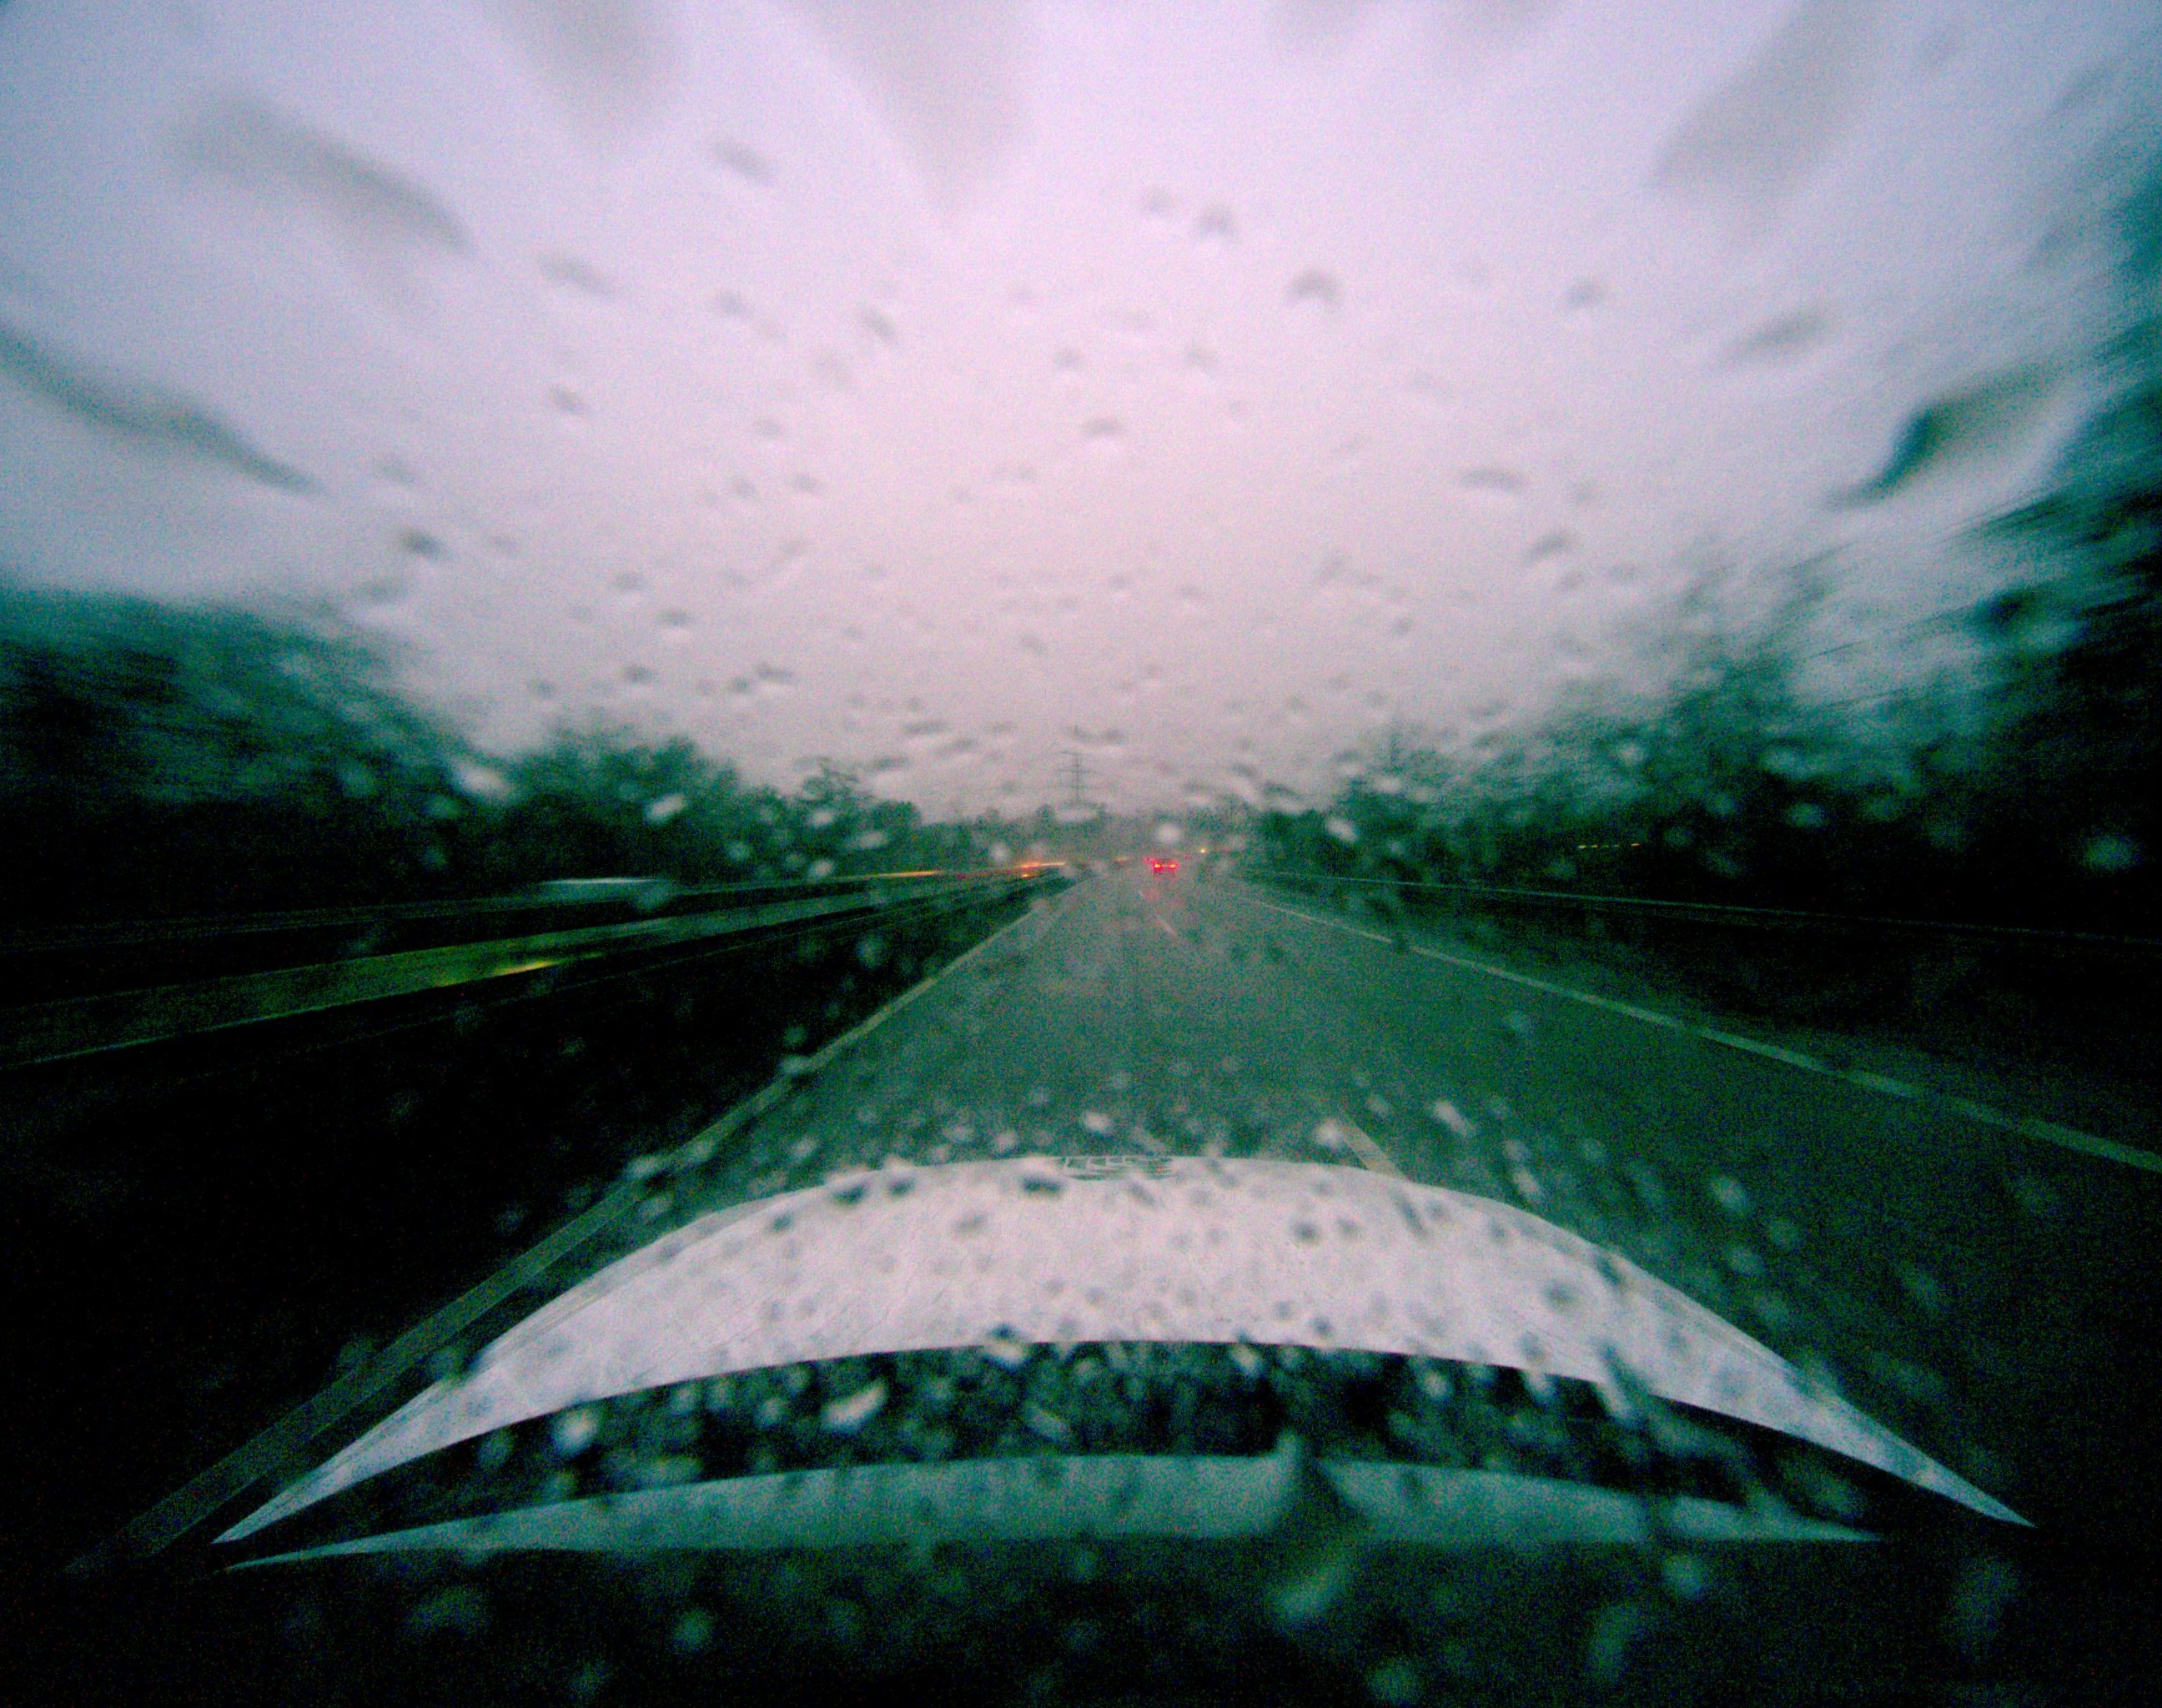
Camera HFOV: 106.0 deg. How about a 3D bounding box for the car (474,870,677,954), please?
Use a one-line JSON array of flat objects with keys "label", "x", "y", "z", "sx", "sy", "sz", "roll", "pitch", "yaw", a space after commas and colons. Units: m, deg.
[{"label": "car", "x": -10.707, "y": 1.152, "z": 17.644, "sx": 1.710, "sy": 1.423, "sz": 4.002, "roll": 4, "pitch": 0, "yaw": 2}]
